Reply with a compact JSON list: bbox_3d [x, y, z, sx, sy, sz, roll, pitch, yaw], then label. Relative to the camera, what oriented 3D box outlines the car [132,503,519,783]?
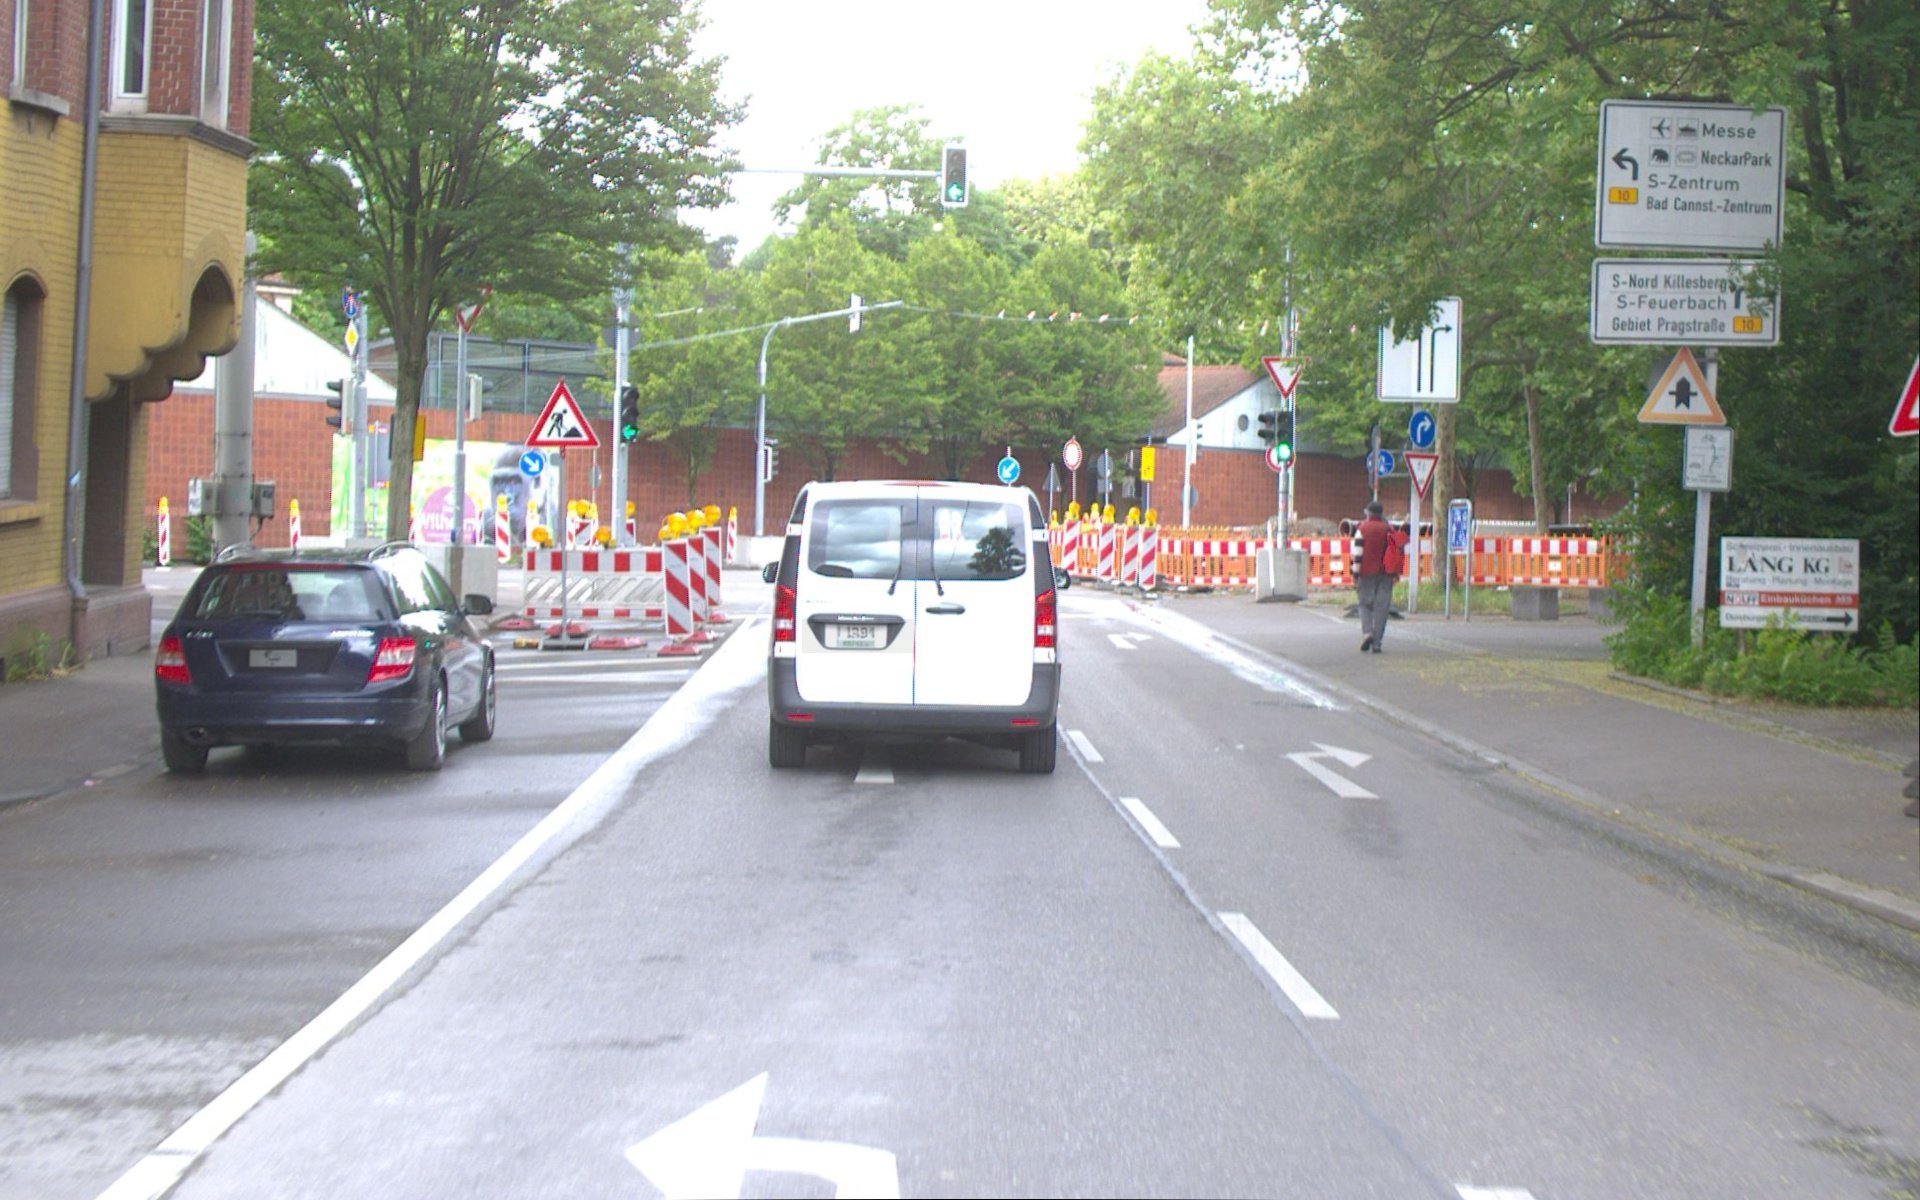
[{"bbox_3d":[-4.138,0.203,23.085,1.725,1.480,4.391,3,3,0],"label":"car"}]

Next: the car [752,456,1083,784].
[{"bbox_3d":[-0.328,0.131,23.682,1.917,1.895,4.702,4,0,-2],"label":"car"}]

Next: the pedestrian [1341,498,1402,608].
[{"bbox_3d":[6.442,-0.743,53.861,0.730,1.691,0.838,0,3,-9],"label":"pedestrian"}]

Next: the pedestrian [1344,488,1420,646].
[{"bbox_3d":[4.952,-0.391,40.374,0.779,1.824,0.728,-1,2,0],"label":"pedestrian"}]
